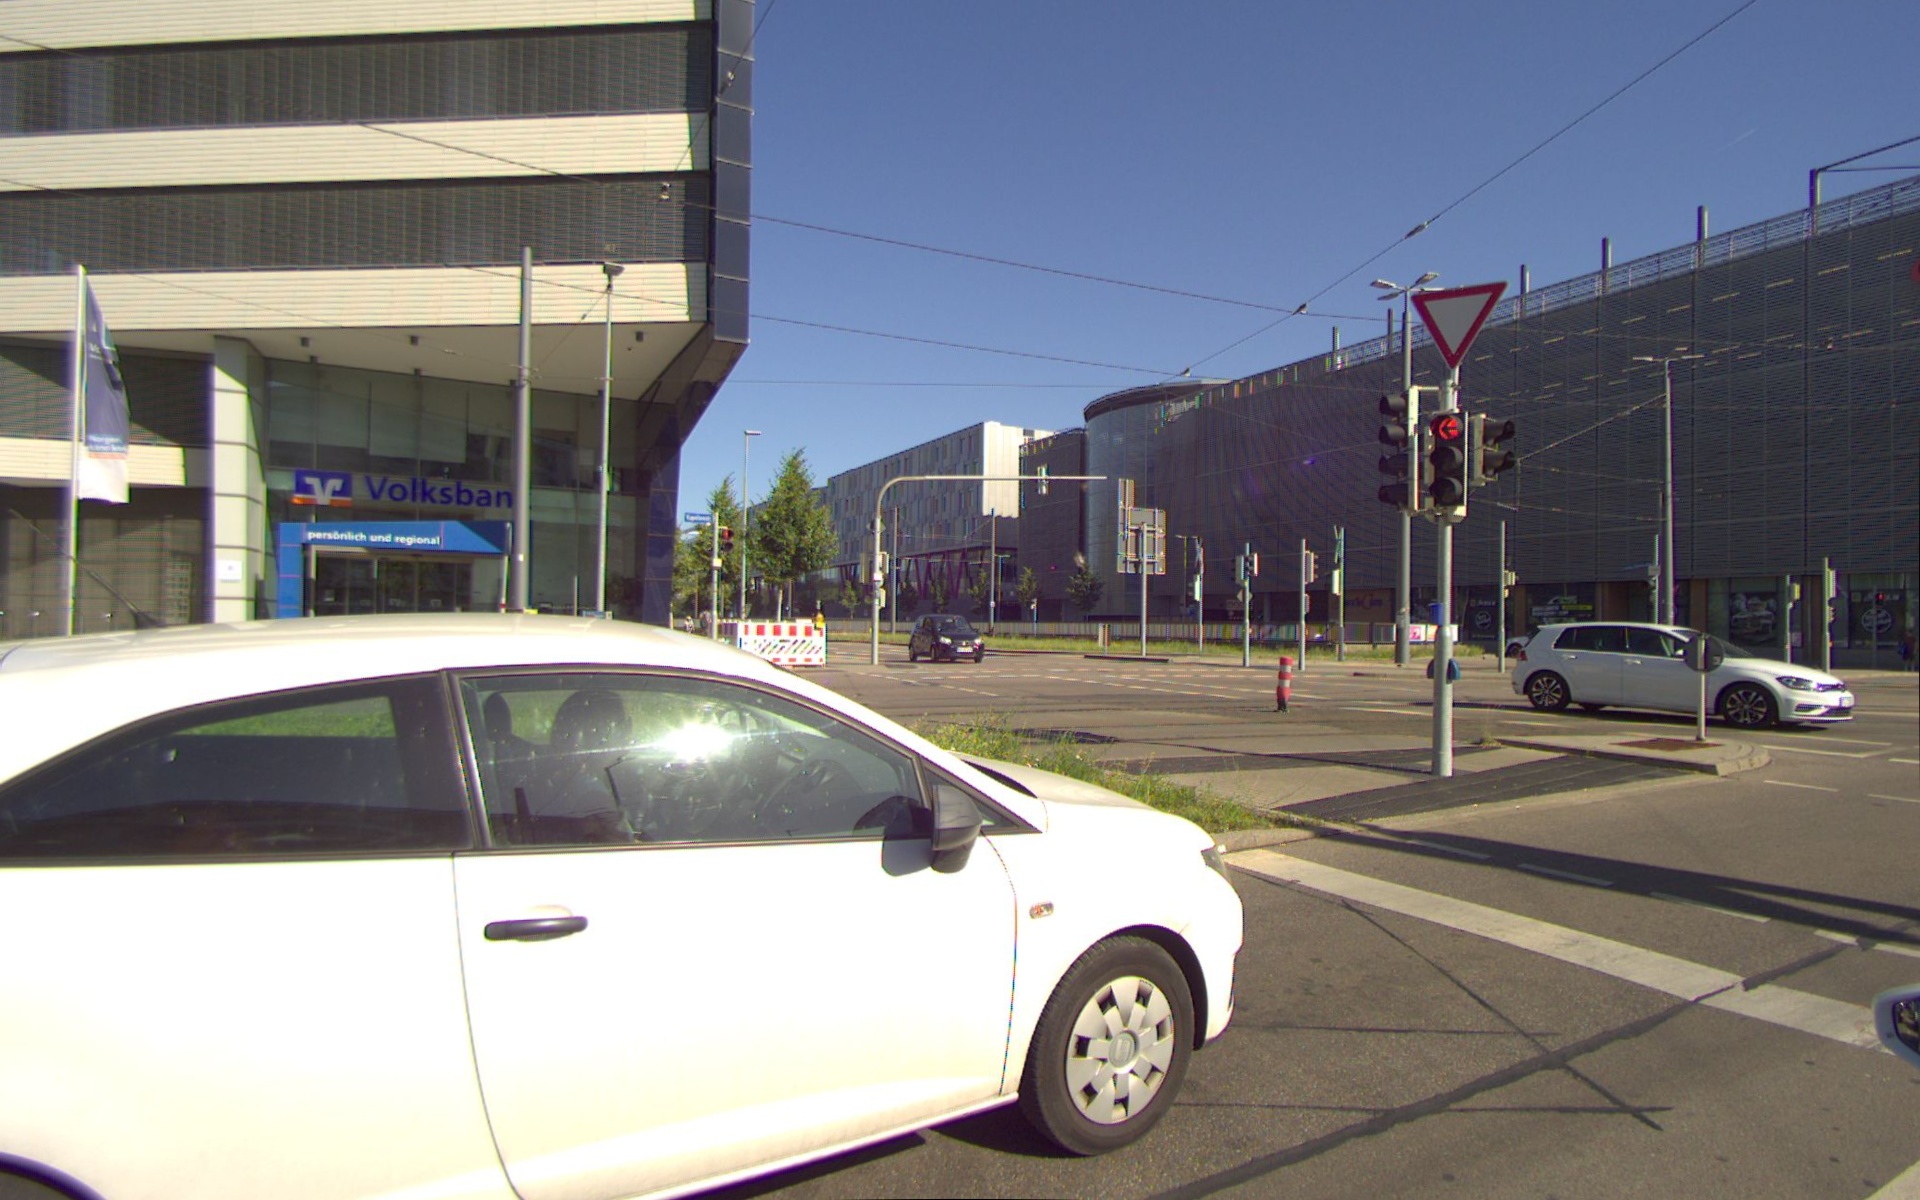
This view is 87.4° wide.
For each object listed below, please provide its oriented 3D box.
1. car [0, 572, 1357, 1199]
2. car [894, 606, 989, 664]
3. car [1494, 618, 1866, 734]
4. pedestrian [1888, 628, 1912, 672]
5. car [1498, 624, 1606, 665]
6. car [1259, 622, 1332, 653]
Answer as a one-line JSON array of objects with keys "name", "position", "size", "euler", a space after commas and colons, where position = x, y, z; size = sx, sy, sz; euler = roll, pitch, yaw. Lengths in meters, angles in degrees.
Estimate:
[{"name": "car", "position": [-0.950, 0.737, 2.794], "size": [3.977, 1.460, 1.723], "euler": [2, 1, -31]}, {"name": "car", "position": [-0.644, 1.101, 31.951], "size": [1.562, 1.729, 3.526], "euler": [1, -2, -29]}, {"name": "car", "position": [10.720, 1.029, 15.285], "size": [1.846, 1.492, 4.256], "euler": [1, -1, -34]}, {"name": "pedestrian", "position": [39.975, 2.117, 42.734], "size": [0.687, 1.821, 0.726], "euler": [-2, -3, 44]}, {"name": "car", "position": [29.441, 2.183, 50.069], "size": [1.819, 1.887, 4.306], "euler": [2, -1, -30]}, {"name": "car", "position": [21.690, 2.427, 65.093], "size": [1.819, 1.605, 4.268], "euler": [2, 2, -30]}]
